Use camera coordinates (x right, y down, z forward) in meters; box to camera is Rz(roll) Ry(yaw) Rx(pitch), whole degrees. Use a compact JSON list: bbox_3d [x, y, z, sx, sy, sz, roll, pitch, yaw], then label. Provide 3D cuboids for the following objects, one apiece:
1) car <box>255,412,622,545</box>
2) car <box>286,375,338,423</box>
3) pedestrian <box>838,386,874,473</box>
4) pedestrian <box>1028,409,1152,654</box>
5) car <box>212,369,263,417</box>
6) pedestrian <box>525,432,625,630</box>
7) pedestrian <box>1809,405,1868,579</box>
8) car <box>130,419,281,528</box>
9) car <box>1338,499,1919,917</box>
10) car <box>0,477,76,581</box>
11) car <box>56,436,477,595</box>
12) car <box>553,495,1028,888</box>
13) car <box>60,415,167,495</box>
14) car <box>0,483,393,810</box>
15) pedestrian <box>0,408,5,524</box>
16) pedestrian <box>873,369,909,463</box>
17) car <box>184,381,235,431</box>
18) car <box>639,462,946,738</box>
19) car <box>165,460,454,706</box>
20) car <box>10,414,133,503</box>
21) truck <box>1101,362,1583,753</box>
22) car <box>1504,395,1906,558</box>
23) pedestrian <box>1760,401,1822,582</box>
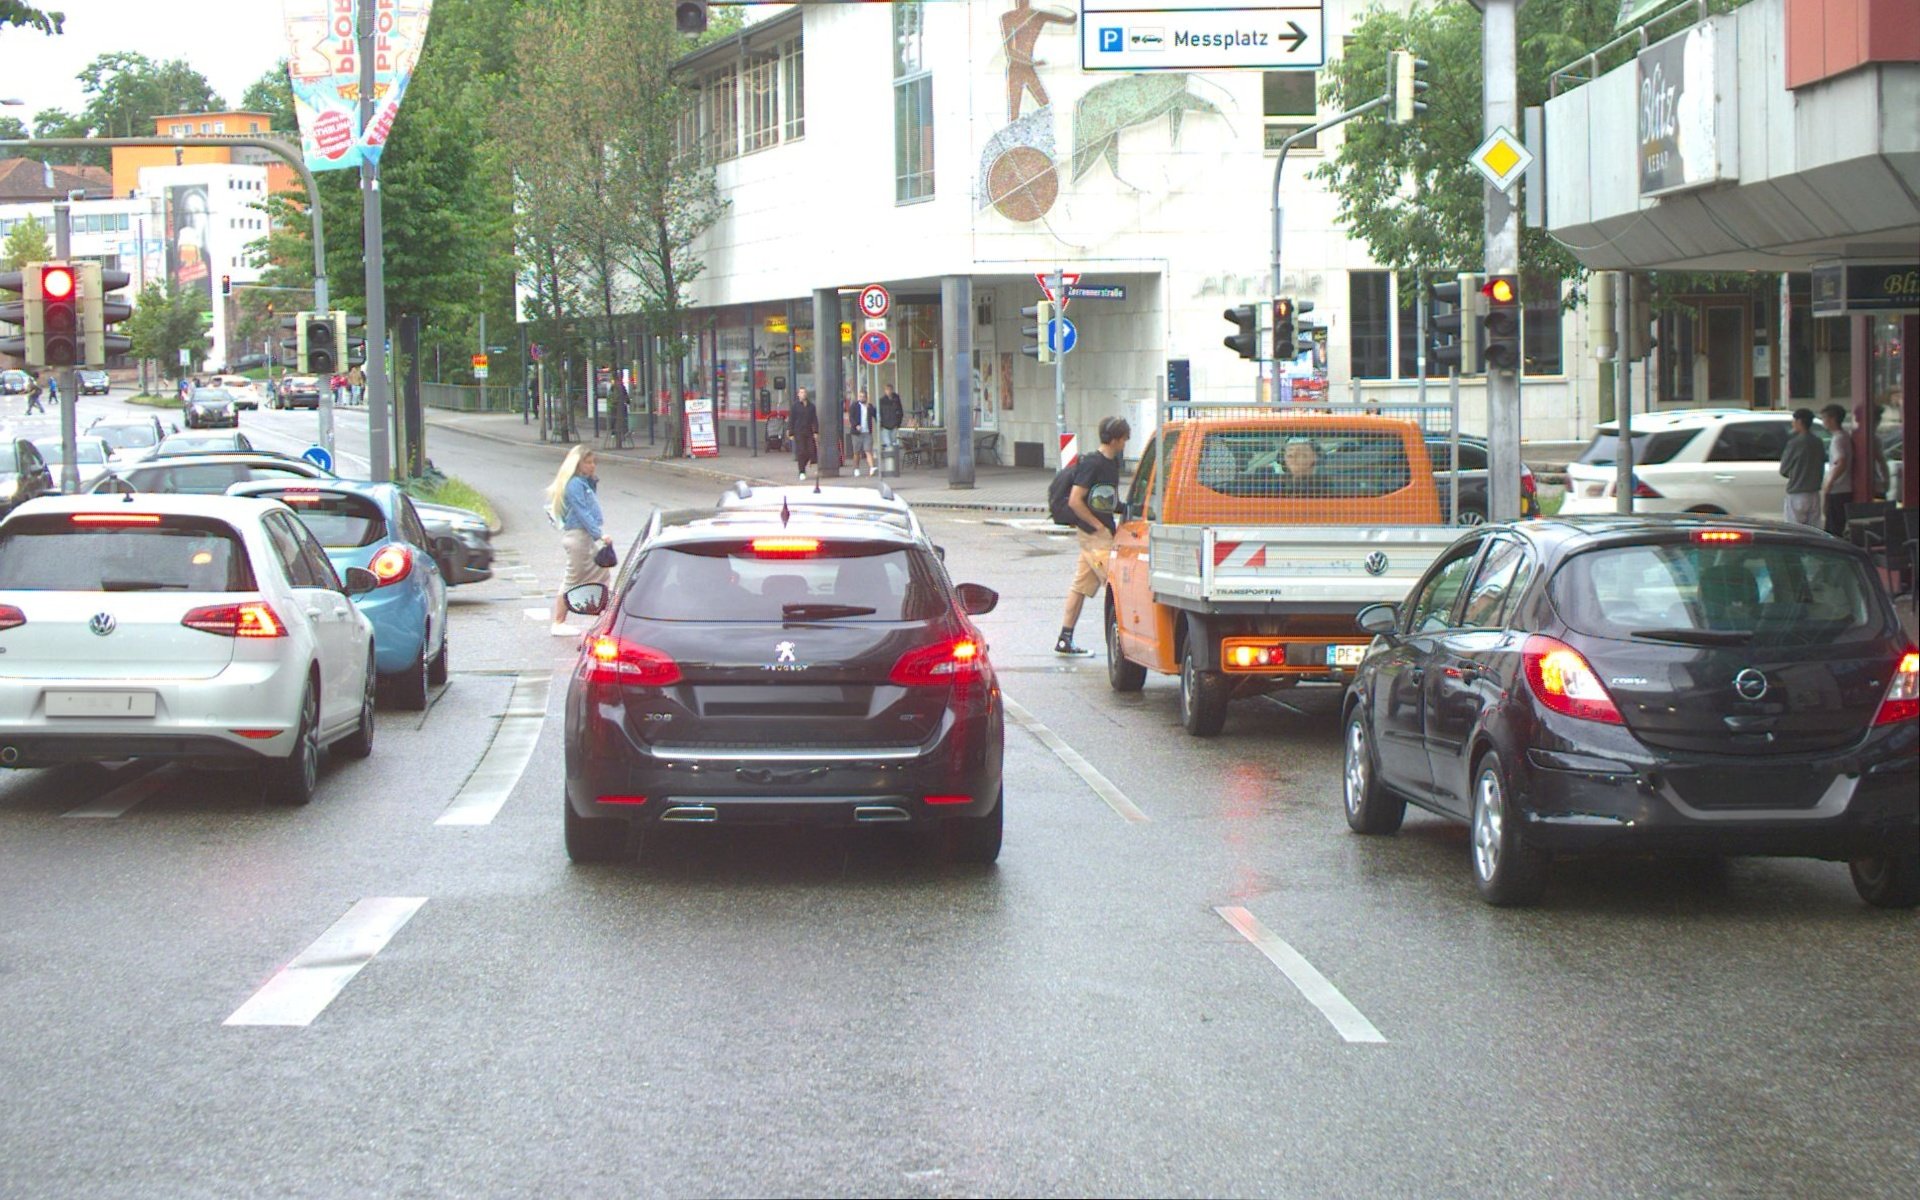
[{"bbox_3d":[-6.356,-1.463,42.421,1.728,1.485,4.723,1,1,34],"label":"car"},{"bbox_3d":[-28.822,-8.929,152.830,1.705,1.929,4.001,1,1,-18],"label":"car"},{"bbox_3d":[-2.126,-3.481,70.362,0.637,1.751,0.733,1,0,5],"label":"pedestrian"},{"bbox_3d":[1.005,-0.533,26.784,0.923,1.871,0.709,1,0,1],"label":"pedestrian"},{"bbox_3d":[-31.804,-9.106,151.281,1.705,1.875,4.001,1,1,-18],"label":"car"},{"bbox_3d":[-3.311,-0.594,29.633,0.748,1.674,0.709,1,0,1],"label":"pedestrian"},{"bbox_3d":[8.357,-1.020,32.717,0.396,1.634,0.504,-1,0,0],"label":"pedestrian"},{"bbox_3d":[-11.739,-1.948,53.698,1.744,1.574,4.001,1,1,-4],"label":"car"},{"bbox_3d":[2.671,0.333,14.129,1.616,1.424,3.843,1,2,-3],"label":"car"},{"bbox_3d":[-14.680,-1.119,52.715,1.574,1.481,3.610,1,3,-4],"label":"car"},{"bbox_3d":[-6.872,-0.820,34.141,3.986,1.481,1.624,1,0,-12],"label":"car"},{"bbox_3d":[-0.749,0.292,14.924,1.777,1.424,3.843,1,2,-3],"label":"car"},{"bbox_3d":[-16.476,-2.841,67.019,1.632,1.481,3.611,0,3,-7],"label":"car"},{"bbox_3d":[-3.990,0.146,17.375,1.777,1.424,3.843,1,2,-3],"label":"car"},{"bbox_3d":[-13.514,-1.820,46.466,1.061,1.573,0.684,1,0,-6],"label":"pedestrian"},{"bbox_3d":[-1.425,-3.770,70.629,0.637,1.891,0.733,1,0,5],"label":"pedestrian"},{"bbox_3d":[-27.458,-7.097,125.887,1.744,1.634,4.001,1,1,-12],"label":"car"},{"bbox_3d":[-0.988,-0.075,21.114,1.696,1.481,3.794,1,3,-2],"label":"car"},{"bbox_3d":[-4.335,-0.175,23.313,1.632,1.481,3.611,1,3,-6],"label":"car"},{"bbox_3d":[-15.435,-2.486,59.846,1.632,1.481,3.611,0,3,-7],"label":"car"},{"bbox_3d":[2.248,-0.362,21.785,2.177,2.165,5.022,1,3,-3],"label":"truck"},{"bbox_3d":[8.317,-1.349,38.489,3.986,1.696,1.829,1,0,-15],"label":"car"},{"bbox_3d":[7.816,-1.018,32.349,0.425,1.677,0.450,-1,0,-2],"label":"pedestrian"}]
